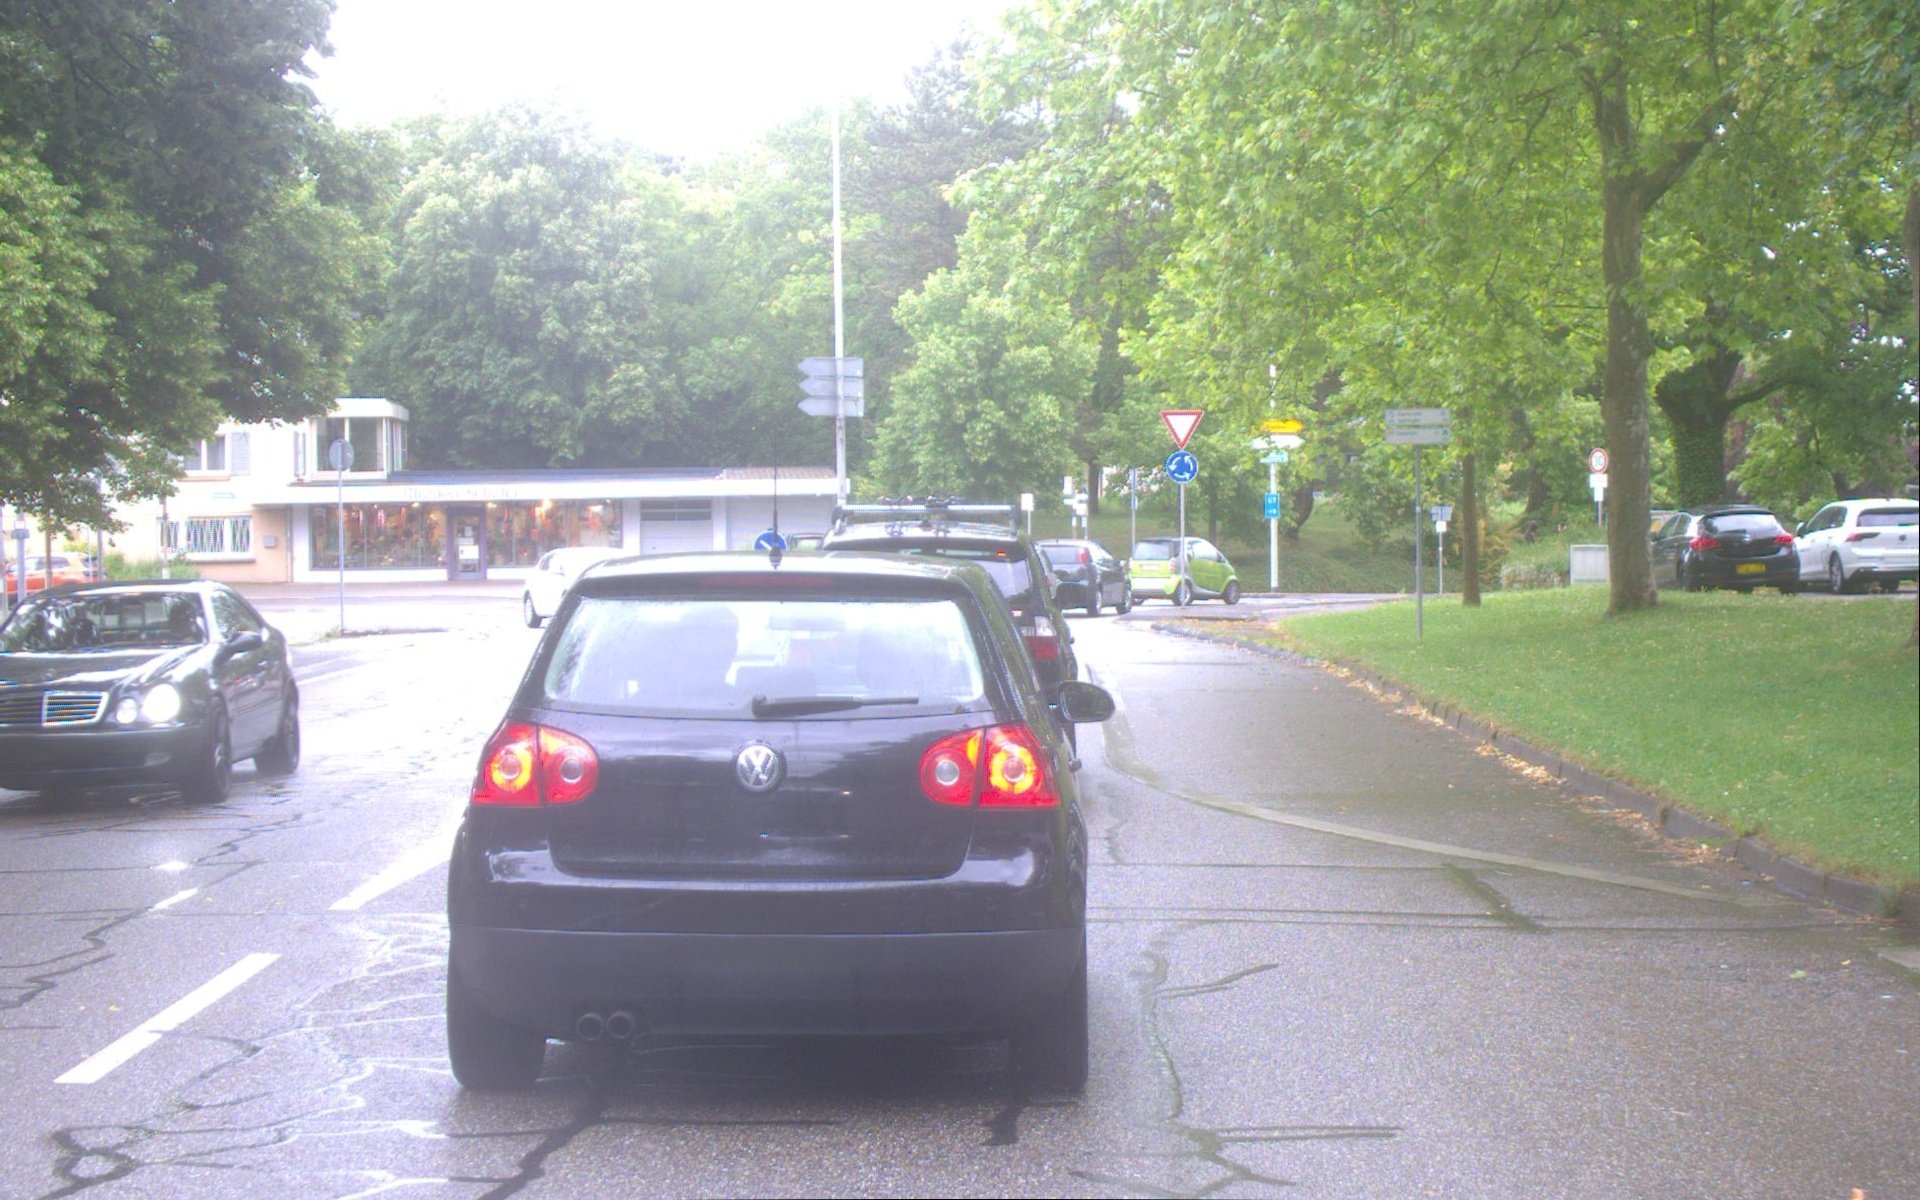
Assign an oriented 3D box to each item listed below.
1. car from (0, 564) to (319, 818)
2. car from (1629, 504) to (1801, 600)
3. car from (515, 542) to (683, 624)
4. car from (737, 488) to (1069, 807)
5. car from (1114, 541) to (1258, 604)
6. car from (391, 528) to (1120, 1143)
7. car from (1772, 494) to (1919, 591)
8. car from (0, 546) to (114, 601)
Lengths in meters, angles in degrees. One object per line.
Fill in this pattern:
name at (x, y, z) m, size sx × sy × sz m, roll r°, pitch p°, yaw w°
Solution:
car at (-5.318, 0.519, 21.814) m, size 1.797 × 1.388 × 3.979 m, roll -3°, pitch 1°, yaw -2°
car at (11.869, -0.773, 54.249) m, size 1.803 × 1.381 × 4.000 m, roll -3°, pitch 1°, yaw 0°
car at (-6.766, -0.316, 64.019) m, size 1.841 × 1.414 × 4.511 m, roll -2°, pitch 1°, yaw -23°
car at (-0.295, 0.254, 21.434) m, size 1.855 × 1.778 × 4.000 m, roll -1°, pitch 0°, yaw 1°
car at (5.061, -0.628, 76.875) m, size 1.539 × 1.305 × 3.122 m, roll -1°, pitch 1°, yaw 44°
car at (-0.486, 0.557, 10.417) m, size 1.799 × 1.510 × 3.754 m, roll 1°, pitch 1°, yaw 1°
car at (14.279, -0.932, 54.576) m, size 1.803 × 1.401 × 4.000 m, roll -3°, pitch 1°, yaw 0°
car at (-26.423, -0.765, 98.952) m, size 3.662 × 1.508 × 1.711 m, roll -1°, pitch 1°, yaw 5°
